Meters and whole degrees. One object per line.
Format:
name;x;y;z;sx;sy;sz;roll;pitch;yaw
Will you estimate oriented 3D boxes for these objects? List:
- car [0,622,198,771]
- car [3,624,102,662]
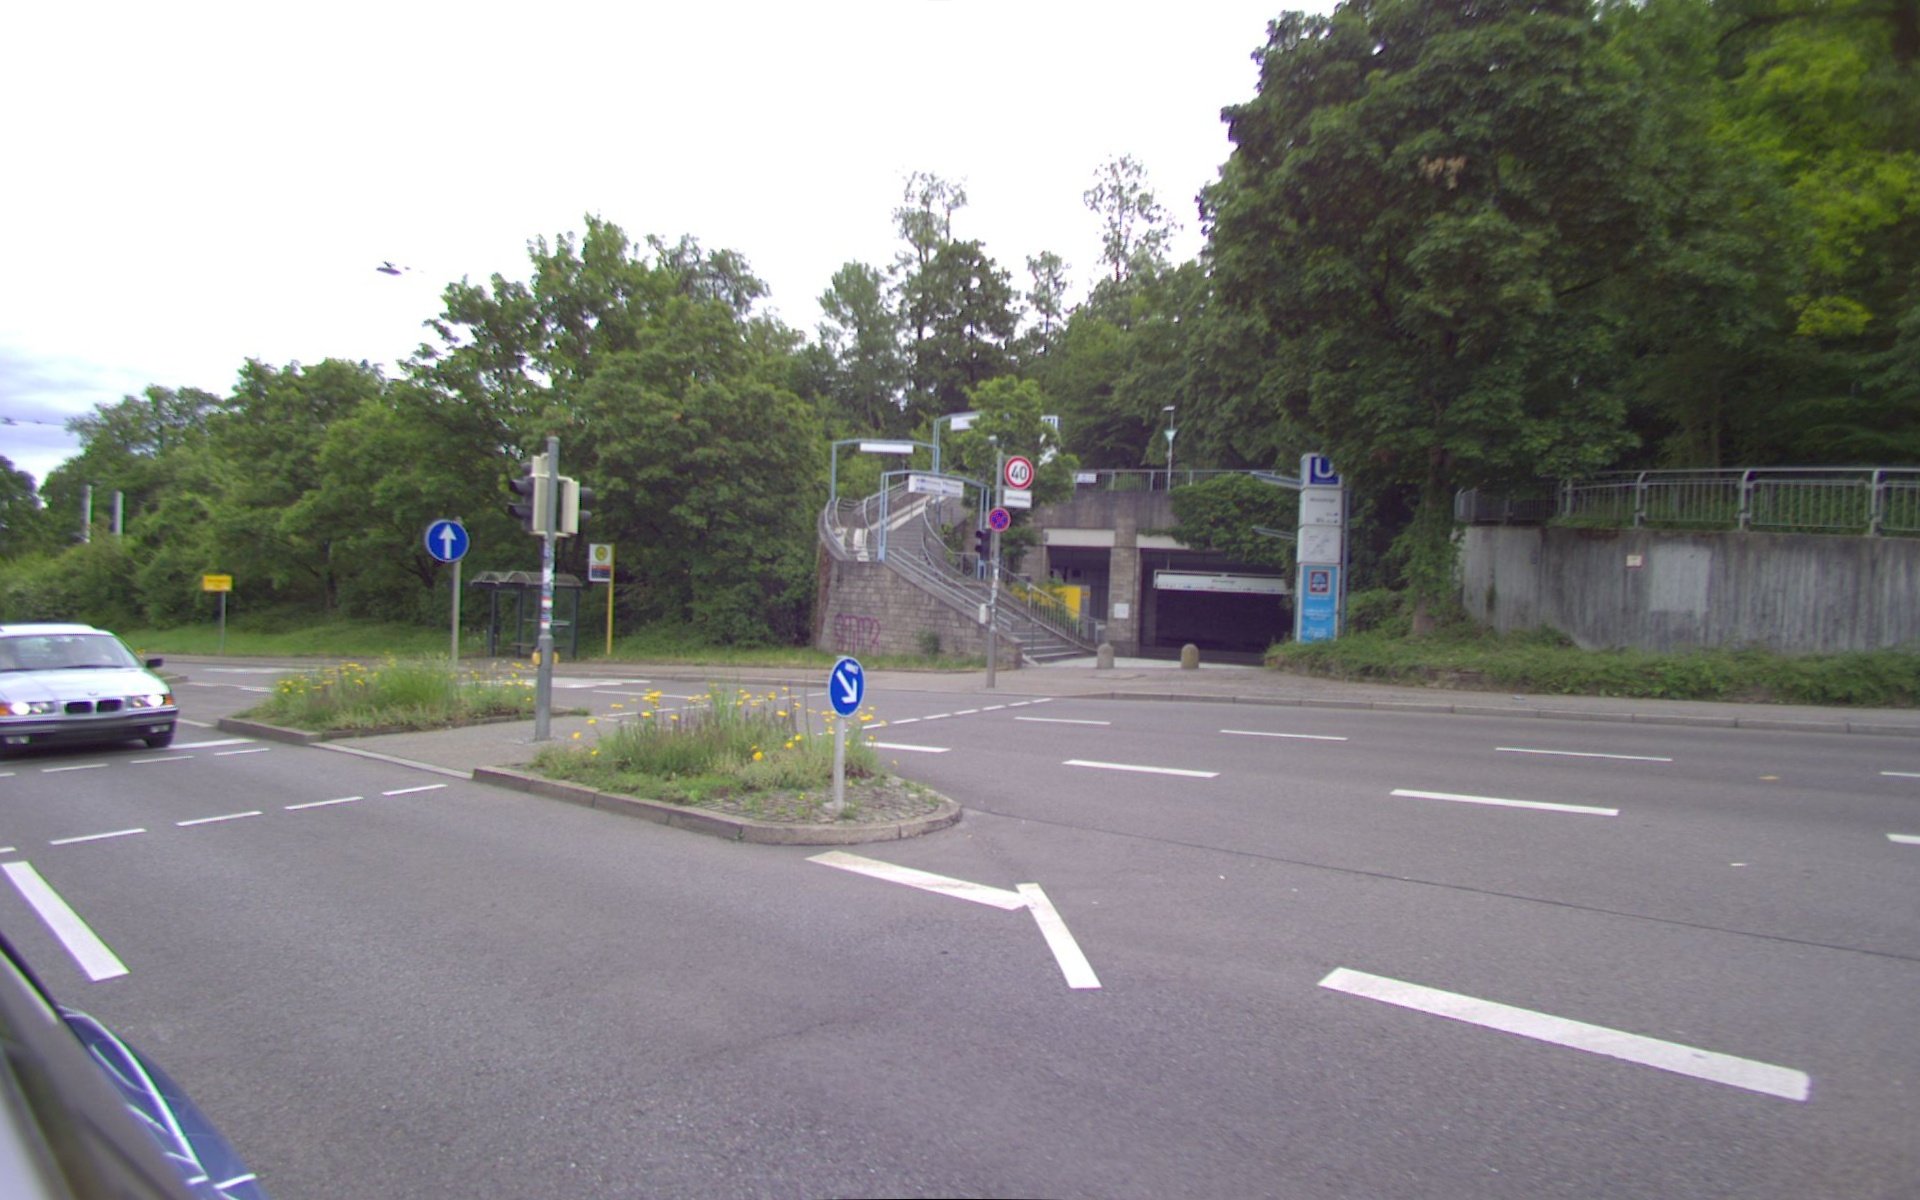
car;-10.620;0.981;11.815;4.610;1.404;1.735;-1;-1;40
car;-35.341;1.651;39.376;4.594;1.404;1.704;-1;-2;32
